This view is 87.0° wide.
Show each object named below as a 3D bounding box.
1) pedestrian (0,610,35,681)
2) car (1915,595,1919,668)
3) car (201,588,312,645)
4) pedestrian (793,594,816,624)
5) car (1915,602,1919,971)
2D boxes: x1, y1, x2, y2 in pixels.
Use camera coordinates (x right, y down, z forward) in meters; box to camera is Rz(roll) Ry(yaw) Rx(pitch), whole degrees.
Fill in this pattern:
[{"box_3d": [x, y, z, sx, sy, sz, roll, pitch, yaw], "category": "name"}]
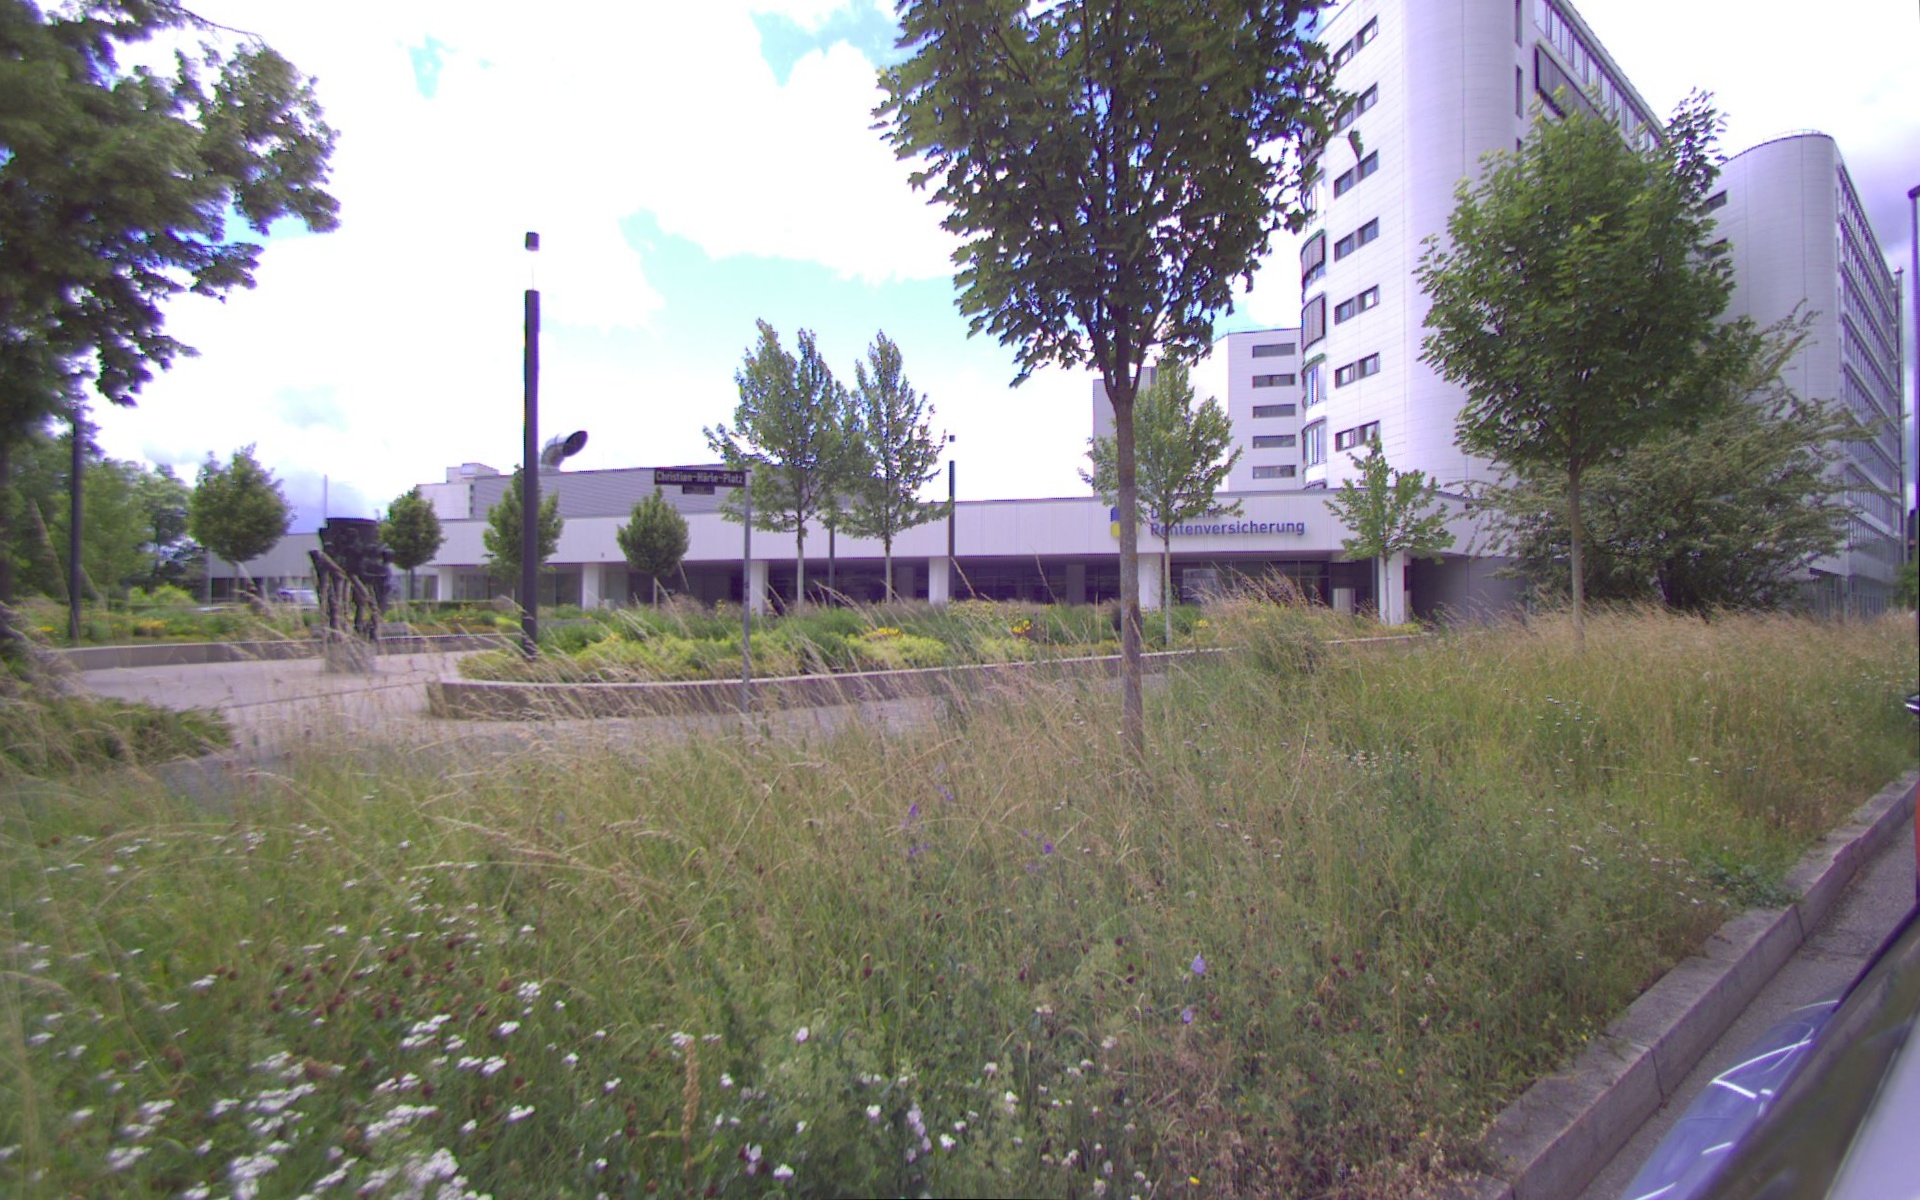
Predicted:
[{"box_3d": [-17.464, 0.831, 18.682, 0.560, 1.278, 0.581, 0, 0, -43], "category": "pedestrian"}, {"box_3d": [22.610, 0.695, 22.494, 3.386, 1.594, 1.736, 0, 0, -42], "category": "car"}, {"box_3d": [-23.382, 0.509, 33.623, 3.470, 1.788, 1.622, 0, 0, 27], "category": "car"}, {"box_3d": [-6.936, 0.391, 45.124, 0.869, 1.290, 0.704, 1, 0, 2], "category": "pedestrian"}, {"box_3d": [5.911, 0.740, 4.754, 3.930, 1.498, 1.691, -1, 0, -41], "category": "car"}]
